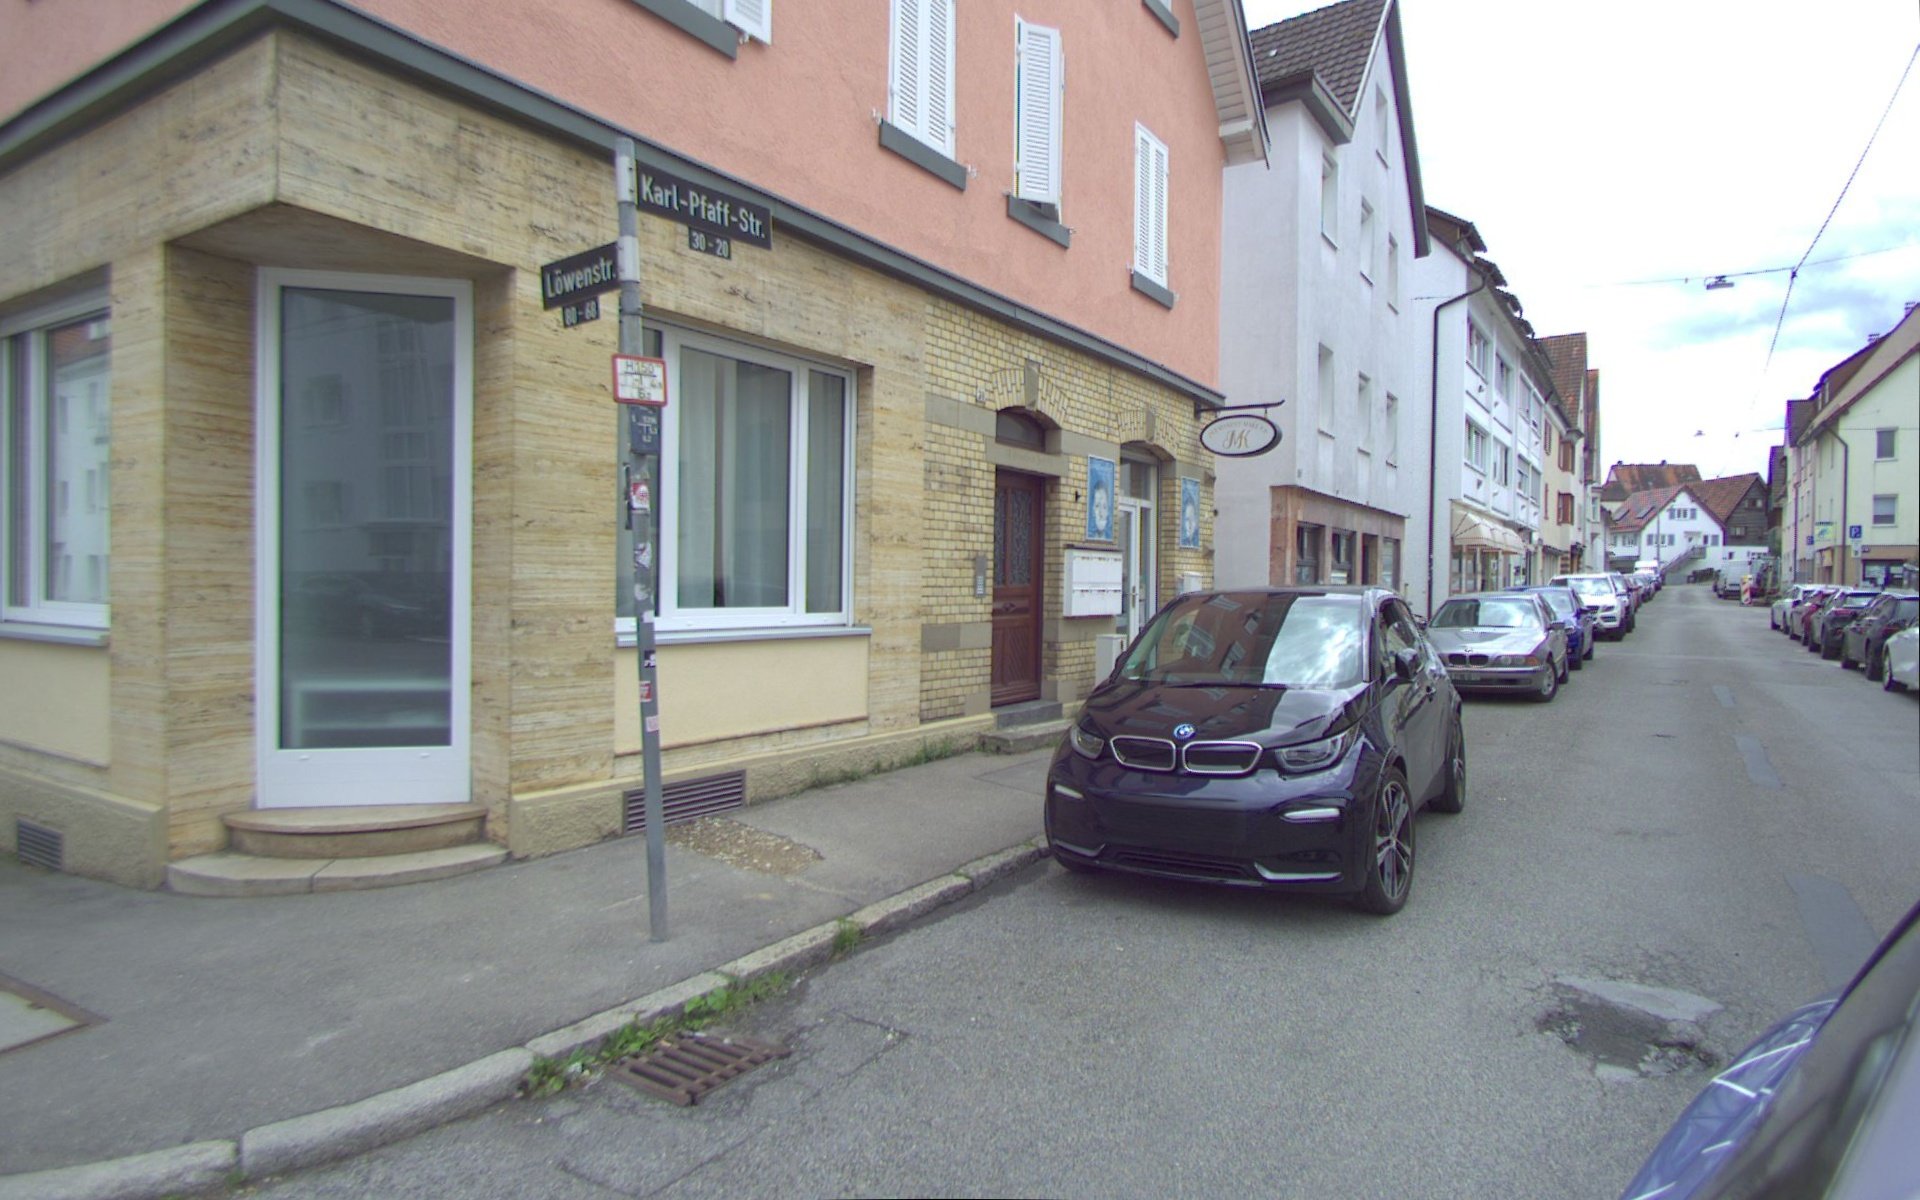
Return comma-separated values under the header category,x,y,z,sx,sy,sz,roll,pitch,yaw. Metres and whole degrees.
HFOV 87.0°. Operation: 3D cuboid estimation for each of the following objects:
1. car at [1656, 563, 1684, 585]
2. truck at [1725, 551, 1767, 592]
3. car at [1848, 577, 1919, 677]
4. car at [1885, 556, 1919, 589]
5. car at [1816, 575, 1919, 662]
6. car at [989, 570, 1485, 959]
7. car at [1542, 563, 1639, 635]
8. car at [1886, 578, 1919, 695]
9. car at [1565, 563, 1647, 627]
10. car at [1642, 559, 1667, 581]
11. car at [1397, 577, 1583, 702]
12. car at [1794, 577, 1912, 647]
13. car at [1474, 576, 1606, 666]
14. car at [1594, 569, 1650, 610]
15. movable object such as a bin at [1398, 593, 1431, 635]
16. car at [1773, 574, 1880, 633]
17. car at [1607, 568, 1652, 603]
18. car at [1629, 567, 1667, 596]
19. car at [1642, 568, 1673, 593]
category,x,y,z,sx,sy,sz,roll,pitch,yaw
car,52.980,-1.964,75.529,1.597,1.491,3.506,-3,0,36
truck,48.785,-1.789,62.877,1.773,2.421,5.418,1,2,35
car,16.451,0.414,17.105,1.748,1.473,4.313,4,4,37
car,46.402,-1.374,49.264,1.597,1.491,3.506,-3,0,36
car,19.084,0.311,20.958,1.748,1.527,4.031,4,4,37
car,1.993,0.636,6.242,1.810,1.562,3.980,-1,0,33
car,16.861,-0.090,26.956,1.890,1.726,4.437,0,2,36
car,13.375,0.520,12.906,1.747,1.449,4.314,4,4,36
car,19.864,-0.207,31.043,1.890,1.812,4.289,0,2,36
car,58.272,-2.547,84.888,1.597,1.748,3.506,-3,0,36
car,7.767,0.457,14.605,1.781,1.434,4.522,-2,1,35
car,22.259,0.218,25.362,1.747,1.466,4.015,4,4,36
car,11.058,0.320,19.173,1.746,1.450,3.878,-1,2,36
car,27.884,-0.466,42.600,1.665,1.547,3.936,-3,0,37
movable object such as a bin,10.656,0.324,23.719,0.567,0.941,0.515,4,3,37
car,25.406,0.034,29.806,1.745,1.448,4.300,4,4,33
car,32.430,-0.709,48.979,1.597,1.547,3.938,-3,0,36
car,38.293,-1.049,56.287,1.597,1.491,3.938,-3,0,36
car,47.258,-1.334,68.562,1.597,1.491,3.506,-3,0,36
